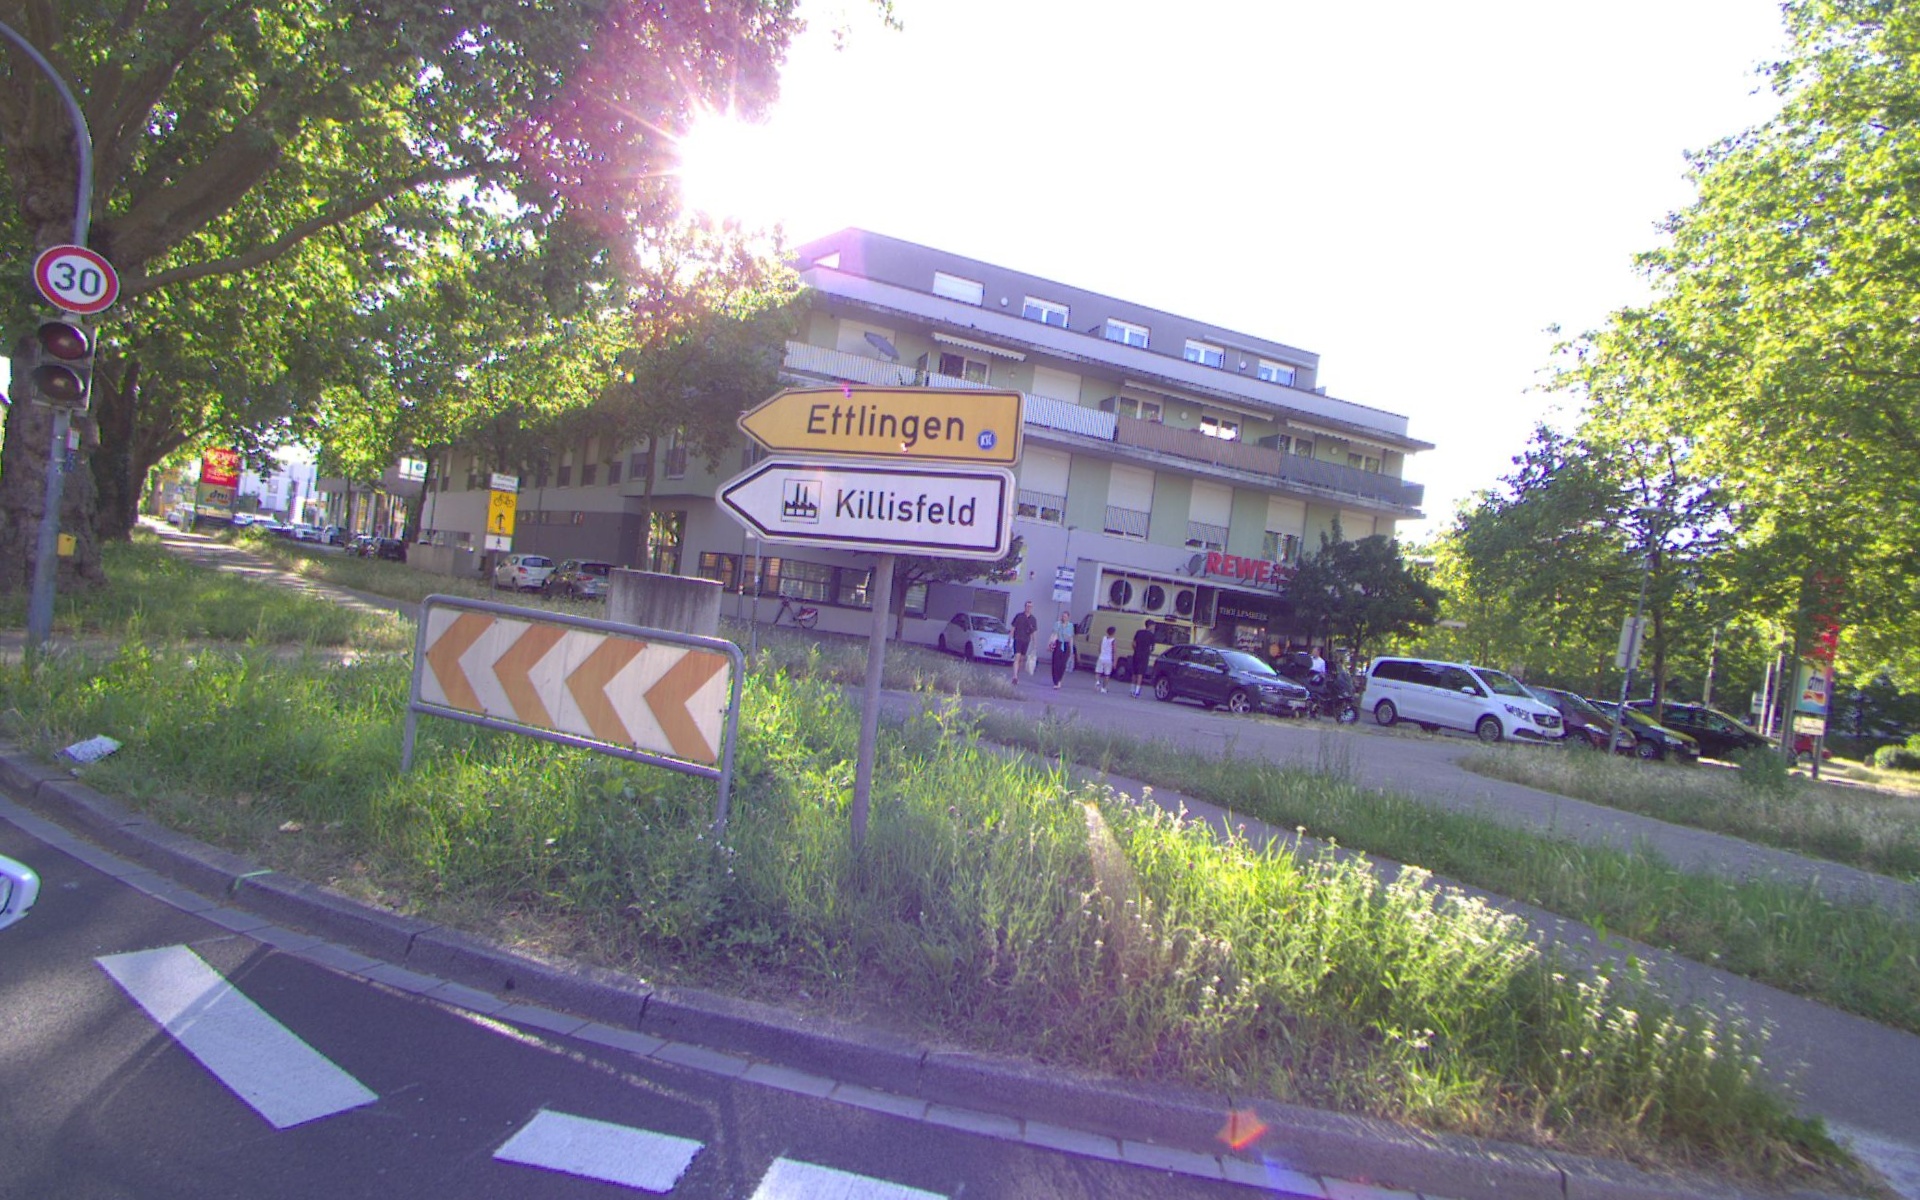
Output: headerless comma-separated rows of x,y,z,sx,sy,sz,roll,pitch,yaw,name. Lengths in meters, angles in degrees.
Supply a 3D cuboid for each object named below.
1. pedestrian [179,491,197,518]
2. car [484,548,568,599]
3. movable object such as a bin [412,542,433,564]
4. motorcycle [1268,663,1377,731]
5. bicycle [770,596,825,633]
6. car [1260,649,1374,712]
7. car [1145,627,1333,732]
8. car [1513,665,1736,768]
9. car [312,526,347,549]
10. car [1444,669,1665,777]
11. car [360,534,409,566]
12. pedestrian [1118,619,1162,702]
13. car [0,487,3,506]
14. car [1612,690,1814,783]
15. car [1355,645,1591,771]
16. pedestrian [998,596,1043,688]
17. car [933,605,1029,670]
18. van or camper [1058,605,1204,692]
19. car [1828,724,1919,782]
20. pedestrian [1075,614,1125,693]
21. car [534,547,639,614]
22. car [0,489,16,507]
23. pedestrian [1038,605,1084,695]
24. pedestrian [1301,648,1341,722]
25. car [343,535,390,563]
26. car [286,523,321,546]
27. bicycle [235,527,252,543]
-53.656,-6.635,69.908,0.654,1.784,0.766,7,2,39,pedestrian
-17.333,-1.073,40.064,1.851,1.561,4.271,7,0,-40,car
-39.455,-3.468,73.861,1.183,1.481,1.397,7,0,-29,movable object such as a bin
8.630,2.288,24.045,0.941,1.263,2.300,7,0,-27,motorcycle
-5.564,0.491,34.429,1.657,1.030,0.585,7,0,-22,bicycle
12.483,2.802,35.422,1.558,1.653,3.657,8,0,-23,car
6.155,1.723,22.650,1.657,1.542,3.954,7,3,-28,car
18.143,3.130,27.766,1.976,1.798,4.603,8,2,-23,car
-59.027,-5.851,94.147,1.979,1.755,4.131,7,0,-42,car
15.691,3.193,26.875,1.976,1.798,4.603,8,2,-23,car
-35.124,-3.075,61.379,1.851,1.571,3.717,7,0,-40,car
4.246,1.406,23.775,0.674,1.832,0.964,7,0,2,pedestrian
-81.054,-8.684,83.671,1.741,1.808,4.495,10,-2,-42,car
23.350,4.162,31.313,1.988,1.798,4.574,6,3,-43,car
12.868,2.642,25.683,1.976,2.124,5.019,8,3,-23,car
1.373,0.938,22.787,0.767,1.956,0.839,7,0,4,pedestrian
0.630,1.174,32.654,1.654,1.474,3.535,8,3,-23,car
5.647,1.549,34.106,2.234,2.274,5.343,7,0,-22,van or camper
35.951,5.921,38.235,4.043,1.819,1.998,6,-2,31,car
3.315,1.256,23.864,0.932,1.719,0.884,7,0,5,pedestrian
-12.760,-0.692,34.216,1.897,1.792,4.271,7,0,-40,car
-89.371,-9.569,93.877,1.544,1.541,3.957,10,-2,-42,car
2.290,1.124,22.846,0.788,1.903,0.785,7,0,5,pedestrian
9.018,2.127,25.153,0.554,1.772,0.528,7,-1,-29,pedestrian
-39.497,-3.400,66.928,1.853,1.486,4.075,7,0,-42,car
-60.649,-6.058,92.922,1.870,1.755,4.129,7,0,-43,car
-50.070,-4.557,70.324,1.462,1.016,0.383,7,1,33,bicycle
